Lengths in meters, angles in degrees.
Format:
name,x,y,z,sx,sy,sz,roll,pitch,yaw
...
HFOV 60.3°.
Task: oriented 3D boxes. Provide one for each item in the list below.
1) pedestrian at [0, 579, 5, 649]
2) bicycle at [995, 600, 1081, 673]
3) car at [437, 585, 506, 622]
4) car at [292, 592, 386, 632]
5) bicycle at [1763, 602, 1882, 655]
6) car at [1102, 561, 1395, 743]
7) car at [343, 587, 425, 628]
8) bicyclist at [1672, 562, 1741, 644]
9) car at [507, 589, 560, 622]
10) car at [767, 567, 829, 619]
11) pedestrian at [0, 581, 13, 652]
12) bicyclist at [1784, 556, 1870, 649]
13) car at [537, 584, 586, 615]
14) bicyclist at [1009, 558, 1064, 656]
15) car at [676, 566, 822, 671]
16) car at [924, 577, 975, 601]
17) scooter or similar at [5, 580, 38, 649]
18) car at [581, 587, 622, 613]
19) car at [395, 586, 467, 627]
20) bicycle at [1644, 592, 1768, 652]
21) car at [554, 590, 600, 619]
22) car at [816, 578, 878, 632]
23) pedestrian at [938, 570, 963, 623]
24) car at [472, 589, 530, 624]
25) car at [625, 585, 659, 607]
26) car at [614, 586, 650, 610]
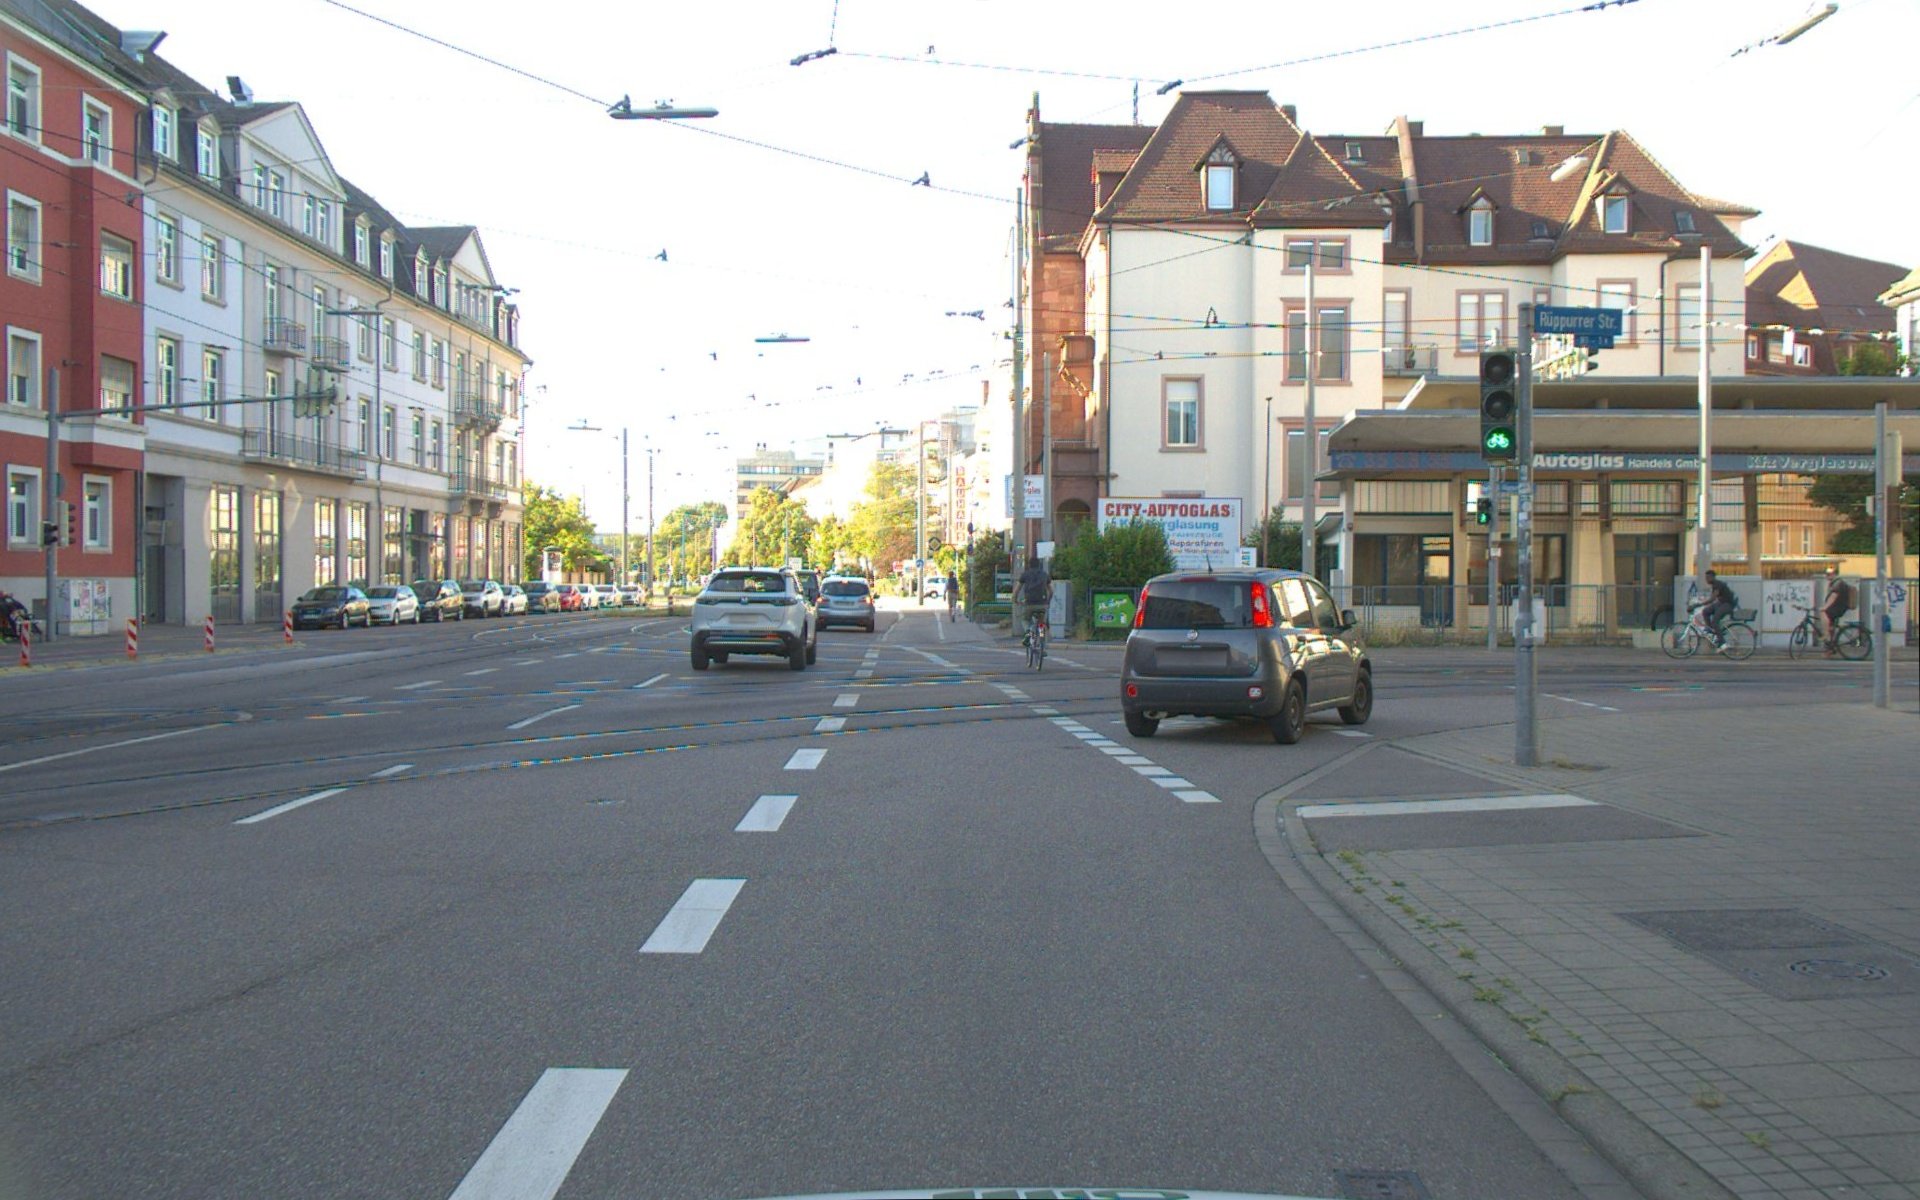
name,x,y,z,sx,sy,sz,roll,pitch,yaw
pedestrian,-23.265,0.329,39.608,0.646,1.661,0.786,0,0,-33
bicycle,1.228,0.559,26.484,0.759,1.105,1.861,0,0,-18
car,-21.391,0.144,72.596,1.798,1.579,4.273,0,0,-1
car,-20.696,0.381,55.300,1.684,1.254,3.999,0,0,-1
bicycle,17.149,0.559,32.913,1.999,1.035,0.727,0,0,0
car,2.923,0.417,16.050,1.697,1.527,3.995,1,1,27
car,-21.142,0.247,60.875,1.684,1.477,3.999,0,0,-1
bicyclist,14.463,0.054,32.065,1.025,1.553,0.880,0,0,8
car,-21.325,0.269,82.813,1.684,1.579,3.999,0,0,-1
car,-6.583,-0.297,67.620,2.128,2.044,4.807,0,0,-1
pedestrian,-22.678,0.385,38.668,0.823,1.661,0.784,0,0,-39
bicyclist,17.259,0.052,32.937,1.225,1.818,0.910,0,0,-5
car,-21.356,-0.040,88.772,1.684,1.579,3.999,0,0,-1
bicyclist,1.225,0.113,26.642,0.817,1.552,0.994,0,0,-1
car,-3.325,0.257,26.763,1.908,1.555,4.089,1,1,-1
car,-0.911,-0.931,141.820,4.181,2.049,1.995,0,0,-10
scooter or similar,-22.696,0.346,39.990,0.646,1.661,0.786,0,0,-33
car,-22.008,0.008,101.770,1.684,1.579,3.999,0,0,-1
car,-21.021,0.240,65.830,1.684,1.579,3.855,0,0,-1
bicycle,14.439,0.418,32.076,2.014,1.145,0.897,0,0,8
car,-21.615,0.235,93.511,1.684,1.579,3.999,0,0,-1
car,-3.494,0.148,51.637,1.777,1.610,3.999,0,0,-2
pedestrian,-0.347,-0.134,58.538,0.857,1.856,1.184,0,0,0
car,-21.544,0.292,77.733,1.684,1.579,3.999,0,0,-1
car,-22.787,-0.295,118.626,1.684,1.579,3.999,0,0,-1
car,-22.296,-0.141,112.623,1.684,1.579,3.999,0,0,-1
